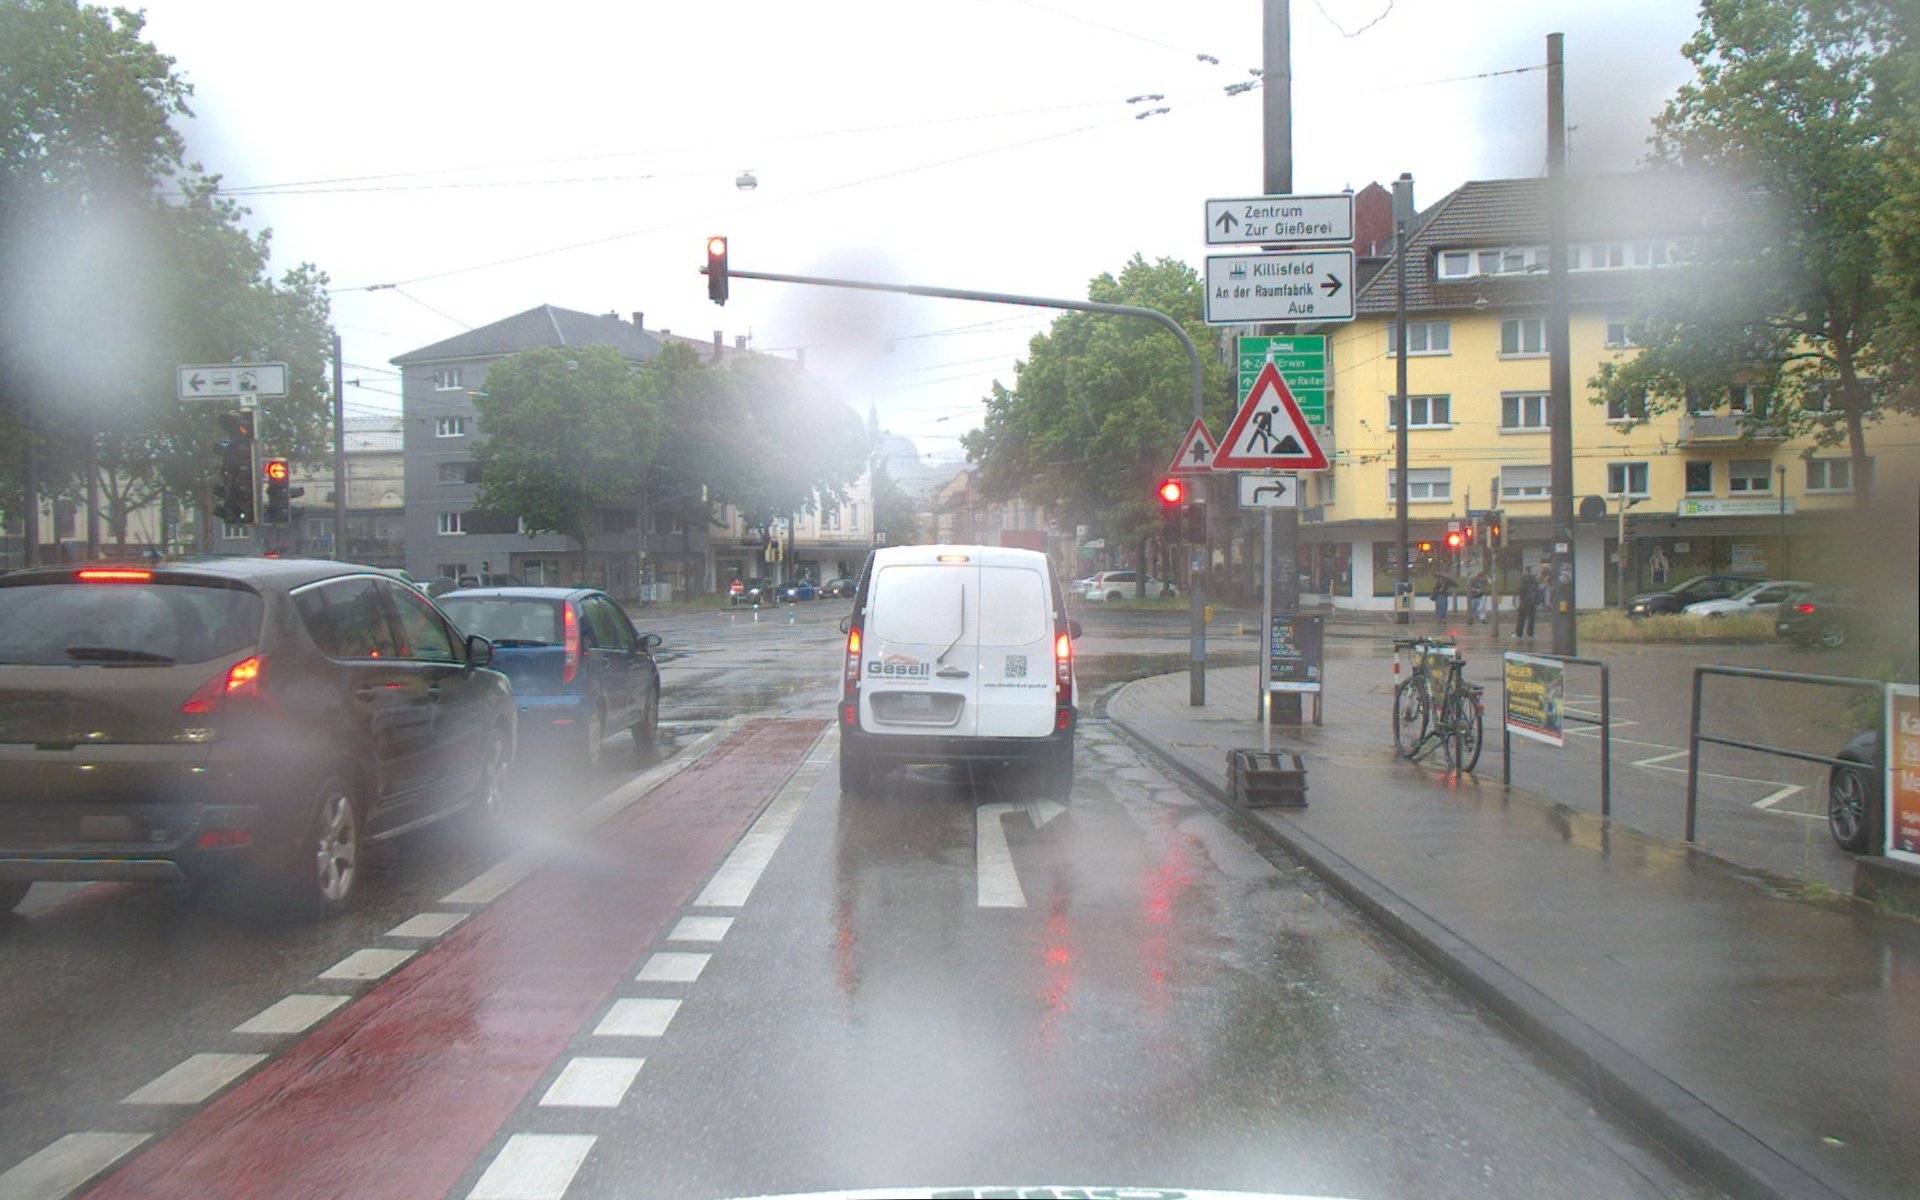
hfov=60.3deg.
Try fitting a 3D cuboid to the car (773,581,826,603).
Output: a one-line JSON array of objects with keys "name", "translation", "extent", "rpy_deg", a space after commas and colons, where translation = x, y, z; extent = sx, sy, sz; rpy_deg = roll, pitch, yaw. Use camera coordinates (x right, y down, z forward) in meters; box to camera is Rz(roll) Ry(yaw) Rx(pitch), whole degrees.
[{"name": "car", "translation": [-9.962, -0.493, 103.053], "extent": [1.909, 1.260, 4.003], "rpy_deg": [1, 2, 16]}]

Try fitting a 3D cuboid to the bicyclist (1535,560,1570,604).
[{"name": "bicyclist", "translation": [21.655, -0.656, 60.475], "extent": [1.043, 1.574, 0.937], "rpy_deg": [1, 0, 11]}]

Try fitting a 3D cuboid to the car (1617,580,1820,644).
[{"name": "car", "translation": [21.140, 0.353, 46.317], "extent": [4.832, 1.672, 2.001], "rpy_deg": [1, -2, 12]}]

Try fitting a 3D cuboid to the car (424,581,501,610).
[{"name": "car", "translation": [-28.154, -0.274, 93.726], "extent": [1.955, 1.556, 3.996], "rpy_deg": [1, 2, 26]}]

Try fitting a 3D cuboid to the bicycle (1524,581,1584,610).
[{"name": "bicycle", "translation": [21.699, -0.163, 60.463], "extent": [1.974, 1.045, 0.660], "rpy_deg": [1, 0, 12]}]

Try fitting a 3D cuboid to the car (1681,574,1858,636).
[{"name": "car", "translation": [20.968, 0.101, 42.991], "extent": [3.854, 1.516, 1.808], "rpy_deg": [1, 1, 16]}]

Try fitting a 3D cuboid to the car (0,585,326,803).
[{"name": "car", "translation": [-6.903, 0.642, 13.594], "extent": [1.806, 1.510, 4.000], "rpy_deg": [1, 0, 0]}]

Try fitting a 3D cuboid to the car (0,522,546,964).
[{"name": "car", "translation": [-3.546, 0.538, 8.479], "extent": [1.797, 1.697, 4.172], "rpy_deg": [1, 0, 0]}]

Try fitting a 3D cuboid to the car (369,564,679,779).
[{"name": "car", "translation": [-3.627, 0.529, 14.429], "extent": [1.692, 1.606, 3.820], "rpy_deg": [1, 0, 0]}]

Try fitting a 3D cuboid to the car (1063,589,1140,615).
[{"name": "car", "translation": [6.679, 0.098, 78.318], "extent": [3.377, 1.150, 1.469], "rpy_deg": [1, 0, -8]}]

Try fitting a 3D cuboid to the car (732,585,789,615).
[{"name": "car", "translation": [-11.616, -0.030, 96.606], "extent": [1.909, 1.635, 4.003], "rpy_deg": [1, 2, 16]}]

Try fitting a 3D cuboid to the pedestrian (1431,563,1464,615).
[{"name": "pedestrian", "translation": [14.910, -0.342, 50.574], "extent": [0.808, 1.560, 0.614], "rpy_deg": [1, 0, -39]}]

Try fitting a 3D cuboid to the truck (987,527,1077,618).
[{"name": "truck", "translation": [4.668, -1.617, 102.938], "extent": [3.395, 5.176, 15.320], "rpy_deg": [1, 0, 11]}]

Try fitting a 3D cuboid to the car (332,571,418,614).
[{"name": "car", "translation": [-33.458, -0.463, 94.777], "extent": [1.953, 2.236, 4.787], "rpy_deg": [2, 2, 23]}]

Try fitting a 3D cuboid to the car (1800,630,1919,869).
[{"name": "car", "translation": [7.028, 1.050, 10.430], "extent": [1.670, 1.467, 3.526], "rpy_deg": [4, 2, 2]}]

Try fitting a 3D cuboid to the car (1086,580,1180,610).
[{"name": "car", "translation": [7.998, -0.252, 76.436], "extent": [4.087, 1.362, 1.518], "rpy_deg": [0, 1, -8]}]

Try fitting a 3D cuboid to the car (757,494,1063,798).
[{"name": "car", "translation": [-0.350, 0.308, 13.659], "extent": [2.057, 2.047, 4.962], "rpy_deg": [0, 0, 0]}]

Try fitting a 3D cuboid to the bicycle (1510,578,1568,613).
[{"name": "bicycle", "translation": [21.988, -0.170, 62.827], "extent": [2.056, 1.283, 0.532], "rpy_deg": [1, 1, 14]}]

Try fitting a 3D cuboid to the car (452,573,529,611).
[{"name": "car", "translation": [-26.083, -0.452, 92.018], "extent": [1.955, 2.049, 3.996], "rpy_deg": [1, 0, 26]}]

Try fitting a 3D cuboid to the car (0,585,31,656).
[{"name": "car", "translation": [-19.047, 0.385, 30.291], "extent": [1.560, 1.337, 3.526], "rpy_deg": [1, 0, 13]}]

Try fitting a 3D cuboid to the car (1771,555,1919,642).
[{"name": "car", "translation": [20.761, -0.031, 37.385], "extent": [3.902, 1.898, 2.002], "rpy_deg": [1, 0, 8]}]

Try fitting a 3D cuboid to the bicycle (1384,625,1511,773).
[{"name": "bicycle", "translation": [4.234, 0.822, 14.487], "extent": [0.503, 1.126, 2.017], "rpy_deg": [3, 1, 1]}]

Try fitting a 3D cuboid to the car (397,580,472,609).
[{"name": "car", "translation": [-30.169, -0.338, 95.061], "extent": [1.916, 1.522, 3.996], "rpy_deg": [2, 2, 26]}]

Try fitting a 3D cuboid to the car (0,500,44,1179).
[{"name": "car", "translation": [-3.483, 0.635, 2.304], "extent": [1.983, 1.801, 4.461], "rpy_deg": [1, 0, -1]}]

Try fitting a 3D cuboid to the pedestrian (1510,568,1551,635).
[{"name": "pedestrian", "translation": [14.773, 0.045, 42.817], "extent": [0.886, 1.698, 1.019], "rpy_deg": [1, 0, 26]}]

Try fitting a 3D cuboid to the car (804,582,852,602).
[{"name": "car", "translation": [-8.823, -0.537, 110.849], "extent": [1.909, 1.260, 4.003], "rpy_deg": [1, 2, 16]}]
